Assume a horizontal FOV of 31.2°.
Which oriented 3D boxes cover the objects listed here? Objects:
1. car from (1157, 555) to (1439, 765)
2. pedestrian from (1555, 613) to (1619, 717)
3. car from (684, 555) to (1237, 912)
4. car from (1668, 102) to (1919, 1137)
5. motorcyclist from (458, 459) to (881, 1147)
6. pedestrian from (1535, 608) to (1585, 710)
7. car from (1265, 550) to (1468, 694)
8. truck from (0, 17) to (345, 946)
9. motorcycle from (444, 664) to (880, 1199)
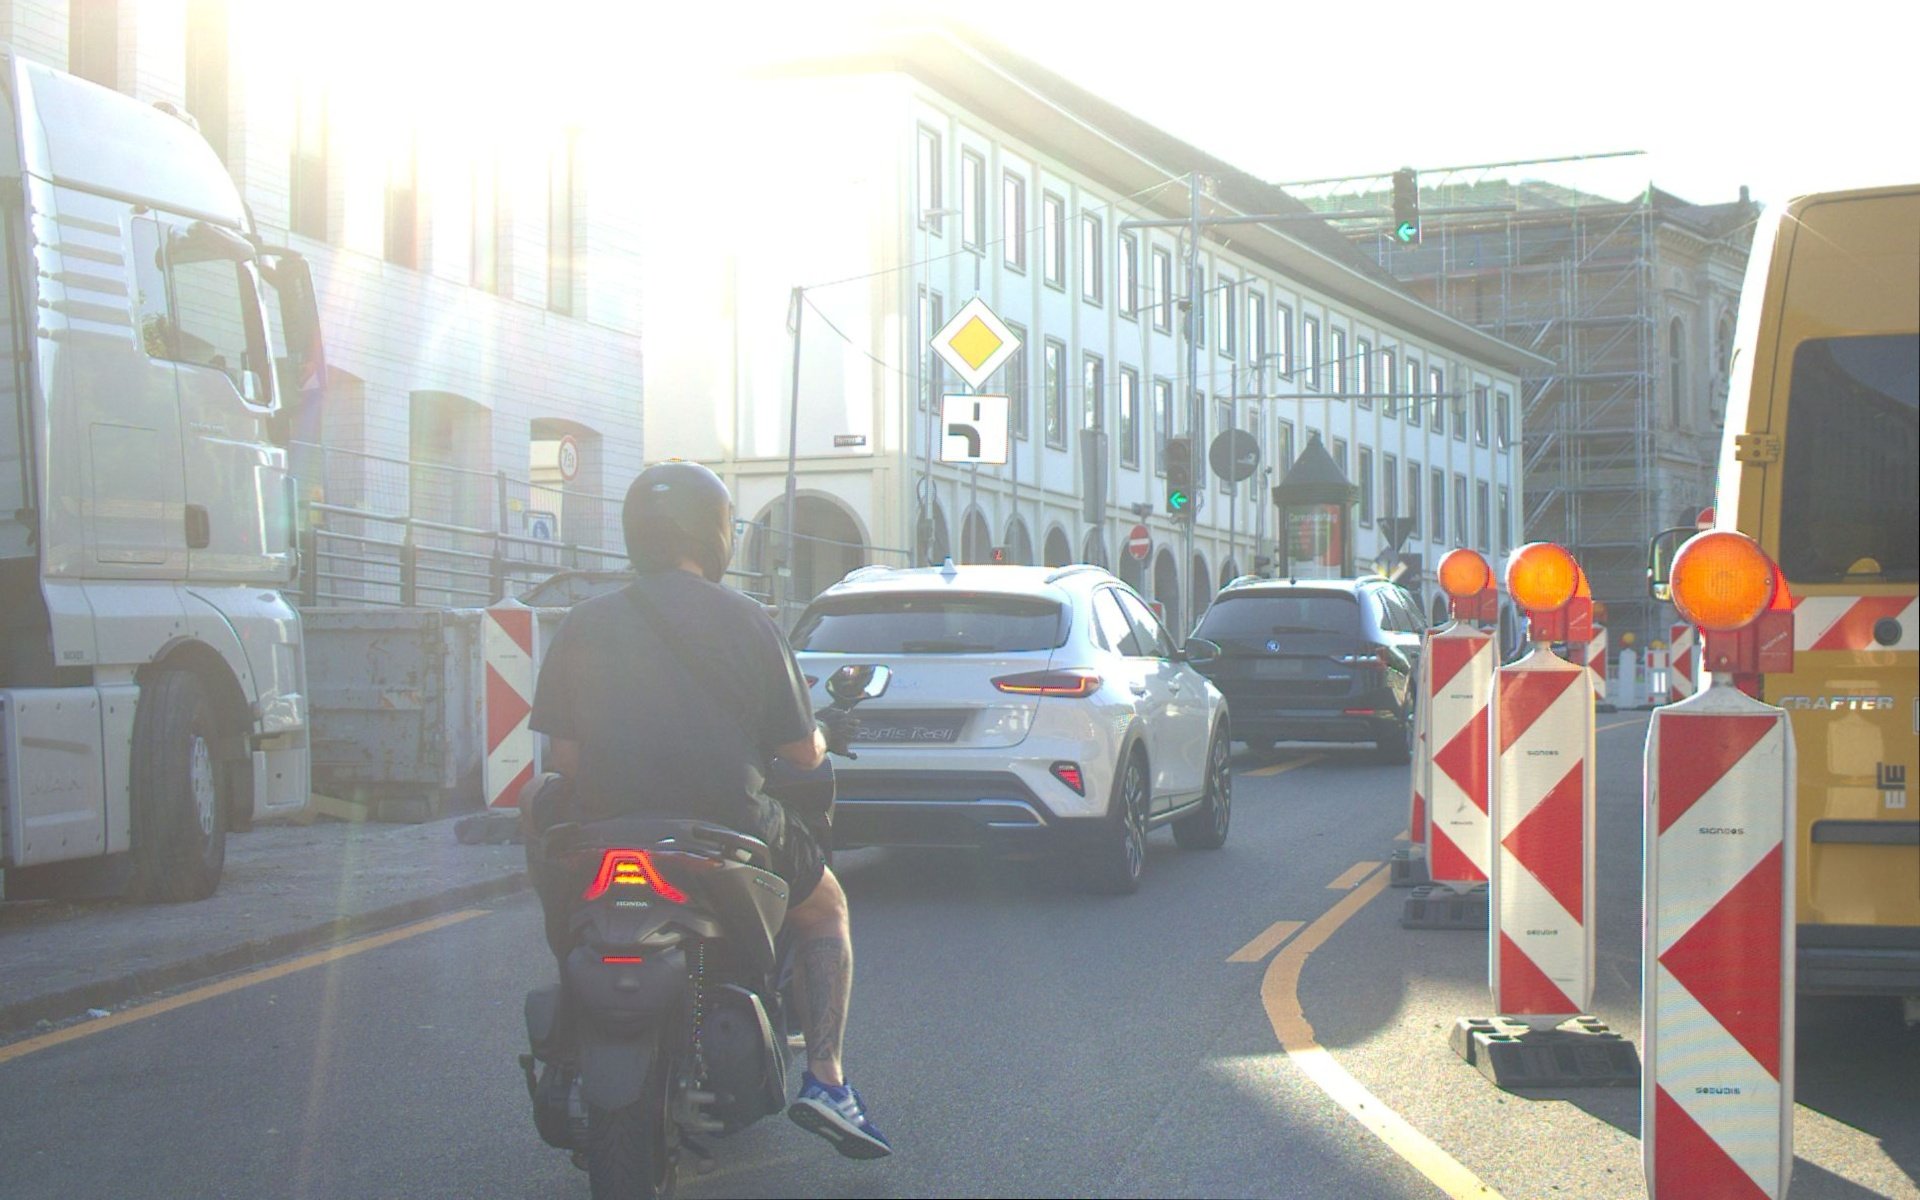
[{"bbox_3d":[2.790,0.498,27.604,1.775,1.545,4.104,-1,-1,12],"label":"car"},{"bbox_3d":[10.463,1.075,57.365,0.965,1.704,0.675,0,1,17],"label":"pedestrian"},{"bbox_3d":[0.141,0.538,16.706,1.860,1.467,3.998,1,1,12],"label":"car"},{"bbox_3d":[3.571,0.022,12.015,2.113,2.616,6.983,0,0,12],"label":"car"},{"bbox_3d":[-0.683,0.453,8.401,0.954,1.554,1.239,0,0,-2],"label":"motorcyclist"},{"bbox_3d":[9.744,0.952,55.815,0.725,1.619,0.619,0,1,17],"label":"pedestrian"},{"bbox_3d":[5.086,0.236,43.499,1.803,1.715,4.163,0,1,-4],"label":"car"},{"bbox_3d":[-4.815,-0.386,13.151,2.581,3.478,5.812,-4,0,13],"label":"truck"},{"bbox_3d":[-0.677,0.784,8.469,0.905,1.179,2.579,0,0,-3],"label":"motorcycle"}]
